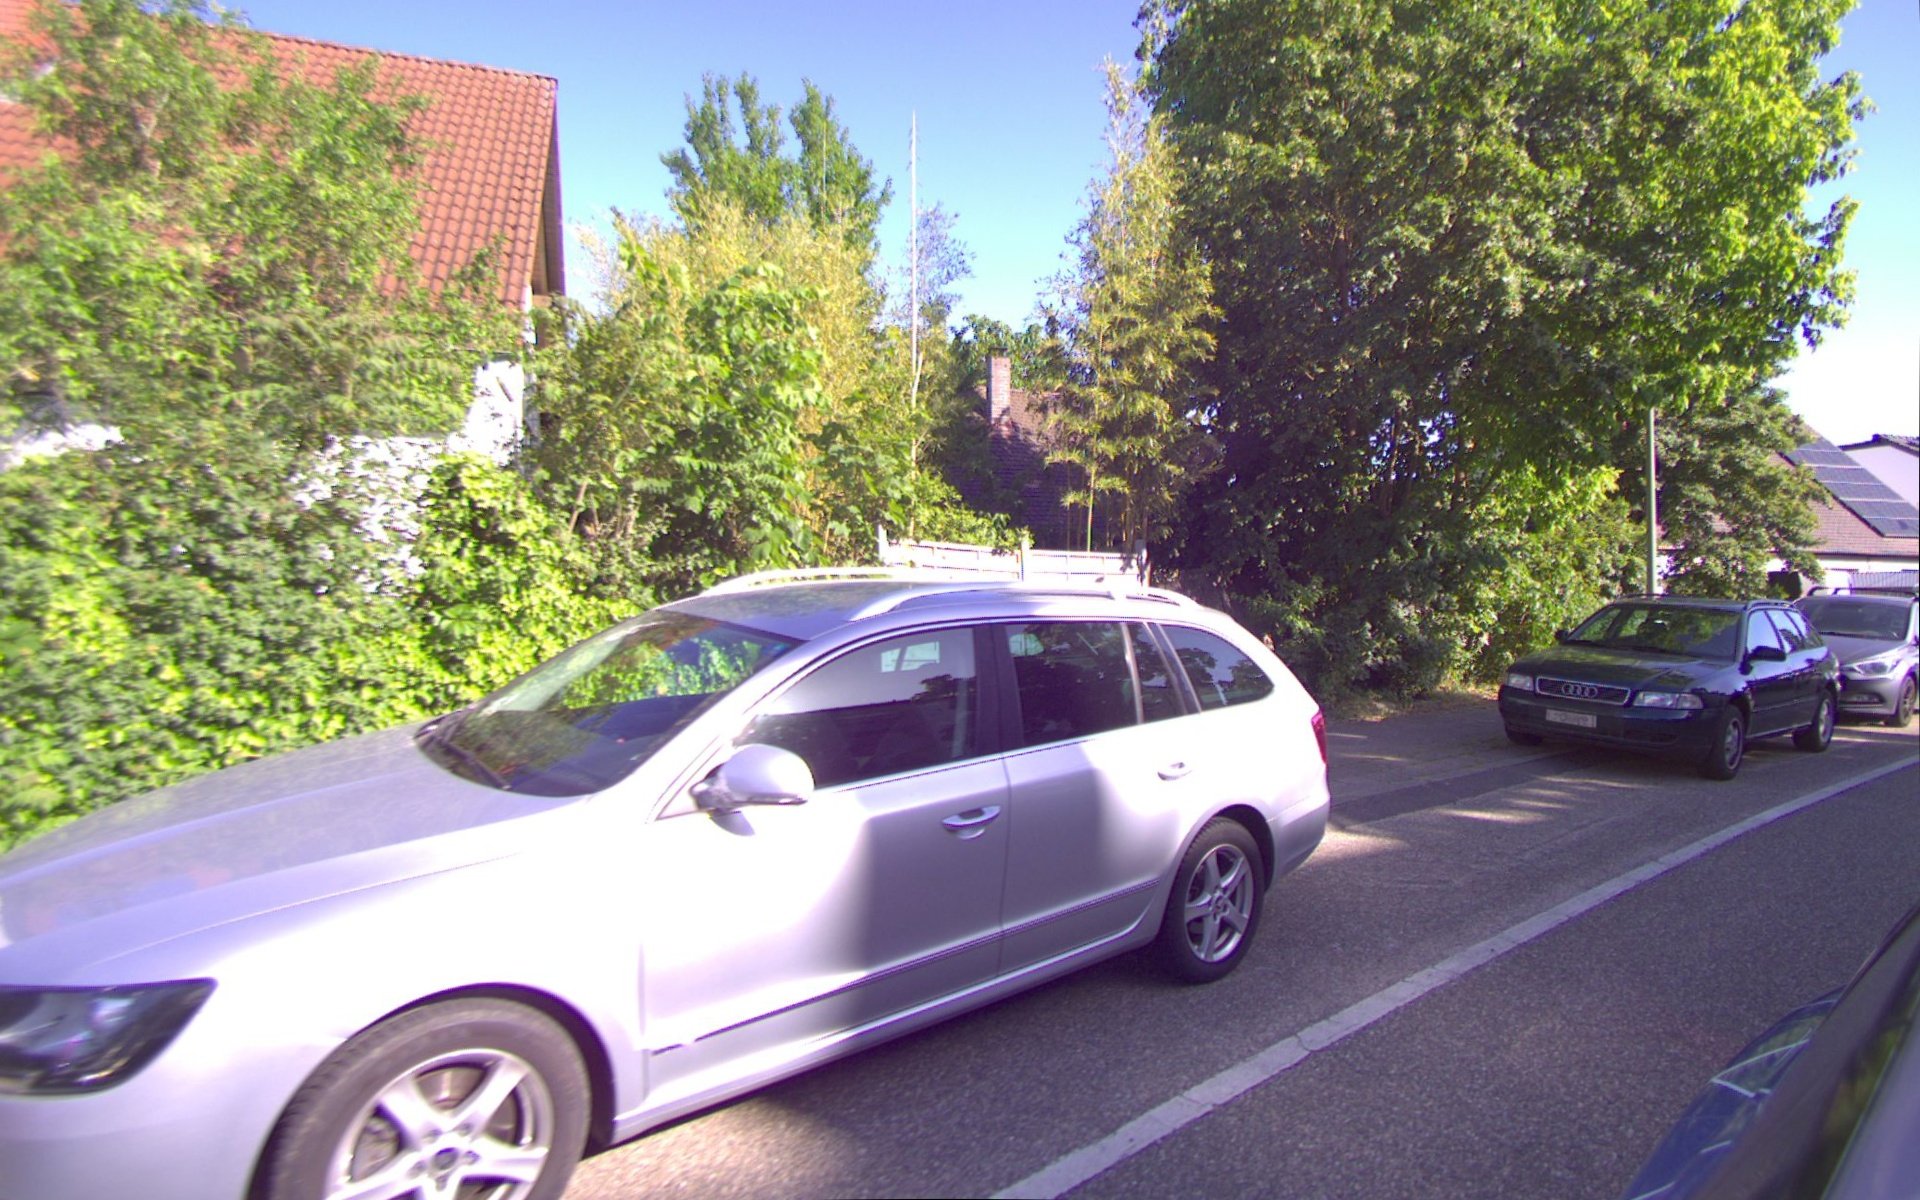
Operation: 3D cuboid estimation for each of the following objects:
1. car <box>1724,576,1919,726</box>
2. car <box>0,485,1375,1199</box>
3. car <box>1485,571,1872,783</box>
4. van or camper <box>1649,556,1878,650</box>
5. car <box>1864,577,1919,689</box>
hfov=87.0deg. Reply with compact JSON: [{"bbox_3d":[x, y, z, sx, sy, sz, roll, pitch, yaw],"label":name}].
[{"bbox_3d":[11.553,0.545,12.838,3.922,1.593,1.726,0,2,-34],"label":"car"},{"bbox_3d":[-0.544,0.601,3.598,4.578,1.583,1.767,0,0,-39],"label":"car"},{"bbox_3d":[6.879,0.570,9.526,4.380,1.583,1.659,0,0,-36],"label":"car"},{"bbox_3d":[18.939,0.058,24.086,1.909,2.039,3.861,0,0,-17],"label":"van or camper"},{"bbox_3d":[15.558,0.499,15.423,3.630,1.593,1.640,0,2,-31],"label":"car"}]
